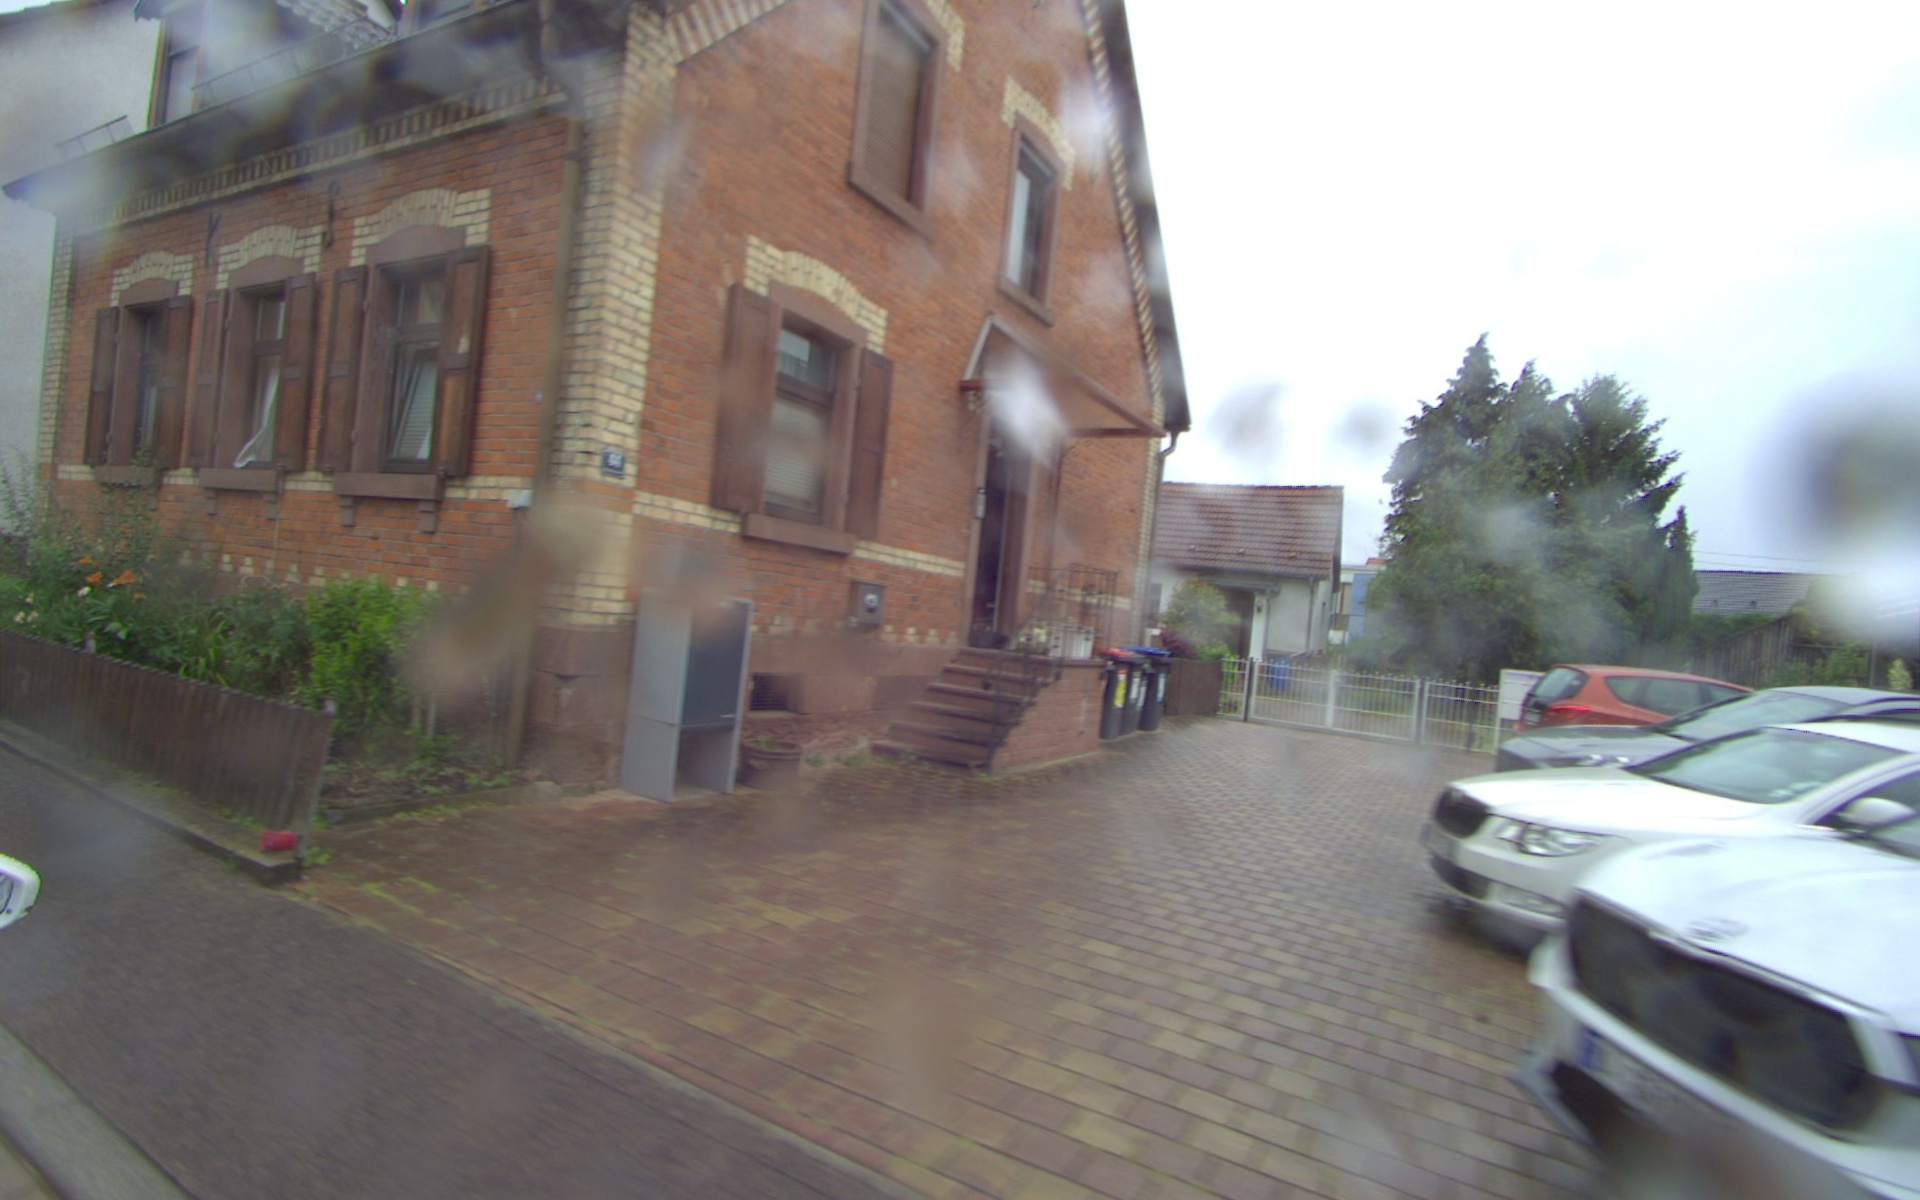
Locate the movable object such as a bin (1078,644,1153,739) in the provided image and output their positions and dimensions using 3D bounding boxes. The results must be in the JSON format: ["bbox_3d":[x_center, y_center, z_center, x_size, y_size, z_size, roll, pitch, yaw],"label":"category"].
[{"bbox_3d":[1.957,1.156,12.674,0.656,1.105,0.578,5,-3,32],"label":"movable object such as a bin"}]

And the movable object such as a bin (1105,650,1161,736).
[{"bbox_3d":[2.267,1.220,13.163,0.468,1.056,0.494,5,-3,32],"label":"movable object such as a bin"}]

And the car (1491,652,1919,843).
[{"bbox_3d":[9.424,1.792,13.020,3.990,1.666,1.811,8,0,9],"label":"car"}]

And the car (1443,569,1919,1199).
[{"bbox_3d":[3.934,1.119,2.371,4.536,1.608,1.878,9,-2,-1],"label":"car"}]

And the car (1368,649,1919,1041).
[{"bbox_3d":[4.820,1.340,5.594,4.211,1.535,1.878,8,0,5],"label":"car"}]

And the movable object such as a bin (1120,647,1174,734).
[{"bbox_3d":[2.532,1.224,13.615,0.468,1.106,0.494,5,-3,32],"label":"movable object such as a bin"}]

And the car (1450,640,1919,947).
[{"bbox_3d":[6.385,1.468,7.781,4.140,1.698,1.809,7,2,8],"label":"car"}]

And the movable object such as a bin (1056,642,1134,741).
[{"bbox_3d":[1.636,1.108,12.152,0.656,1.105,0.578,5,-3,32],"label":"movable object such as a bin"}]
